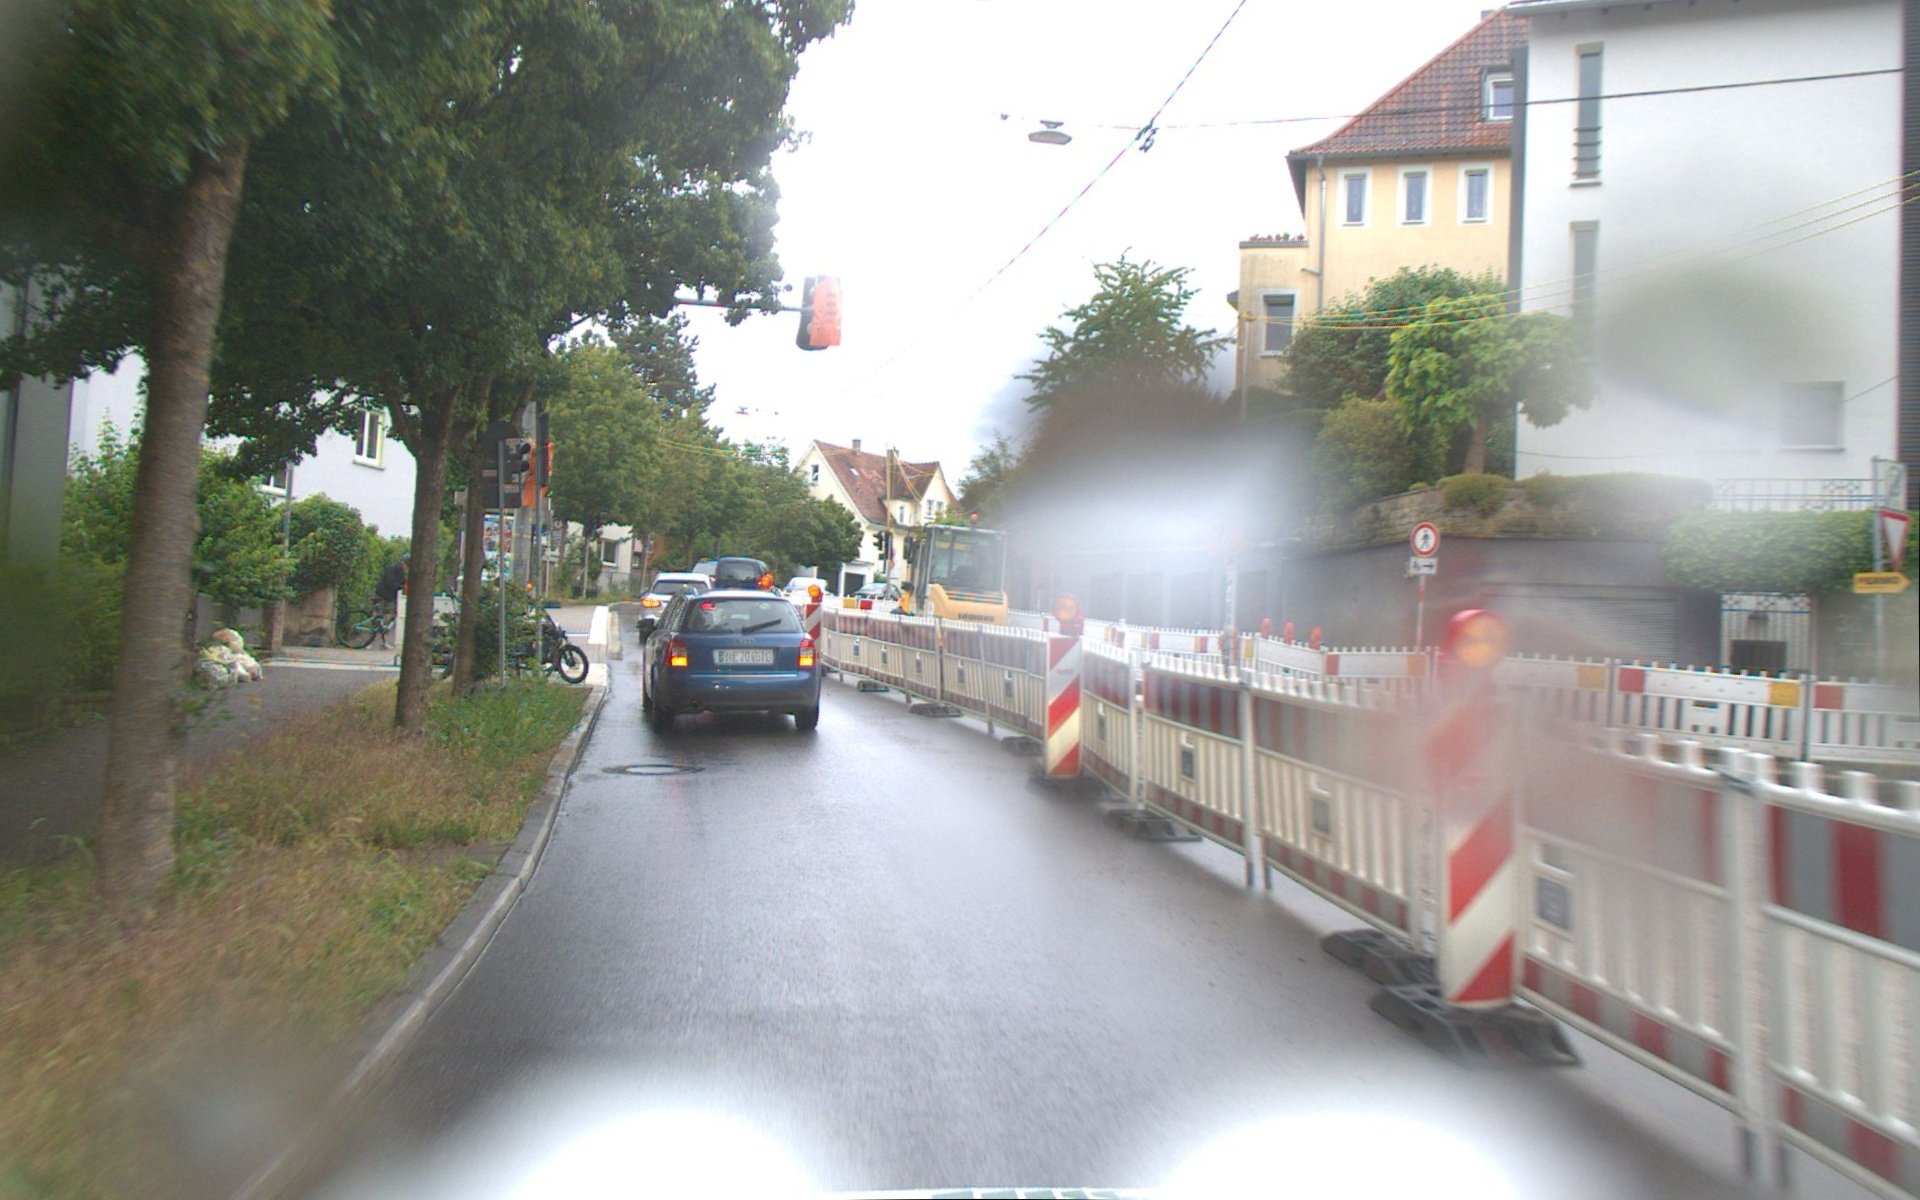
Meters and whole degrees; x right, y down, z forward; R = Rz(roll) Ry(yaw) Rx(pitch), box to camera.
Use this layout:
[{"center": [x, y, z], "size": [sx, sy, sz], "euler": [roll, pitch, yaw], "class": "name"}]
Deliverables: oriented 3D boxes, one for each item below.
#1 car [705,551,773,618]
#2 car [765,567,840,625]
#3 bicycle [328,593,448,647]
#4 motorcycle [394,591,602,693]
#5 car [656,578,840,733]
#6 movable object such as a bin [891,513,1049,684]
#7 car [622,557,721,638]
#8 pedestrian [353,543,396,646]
[{"center": [-6.814, -0.440, 50.632], "size": [1.957, 1.825, 3.990], "euler": [-1, -3, -9], "class": "car"}, {"center": [-5.779, -0.110, 61.103], "size": [1.951, 2.049, 4.003], "euler": [0, -1, 7], "class": "car"}, {"center": [-10.930, 0.380, 31.681], "size": [2.109, 1.020, 0.634], "euler": [0, -1, -13], "class": "bicycle"}, {"center": [-6.091, 0.556, 21.965], "size": [2.551, 1.255, 0.887], "euler": [2, -1, -11], "class": "motorcycle"}, {"center": [-2.421, 0.609, 18.119], "size": [1.754, 1.467, 3.953], "euler": [-1, -2, -11], "class": "car"}, {"center": [0.083, -0.089, 27.777], "size": [1.957, 2.659, 3.991], "euler": [0, 2, -10], "class": "movable object such as a bin"}, {"center": [-6.370, -0.013, 36.191], "size": [1.893, 1.646, 4.305], "euler": [0, -1, -13], "class": "car"}, {"center": [-11.379, -0.107, 32.147], "size": [0.719, 1.978, 0.463], "euler": [0, -1, -13], "class": "pedestrian"}]
